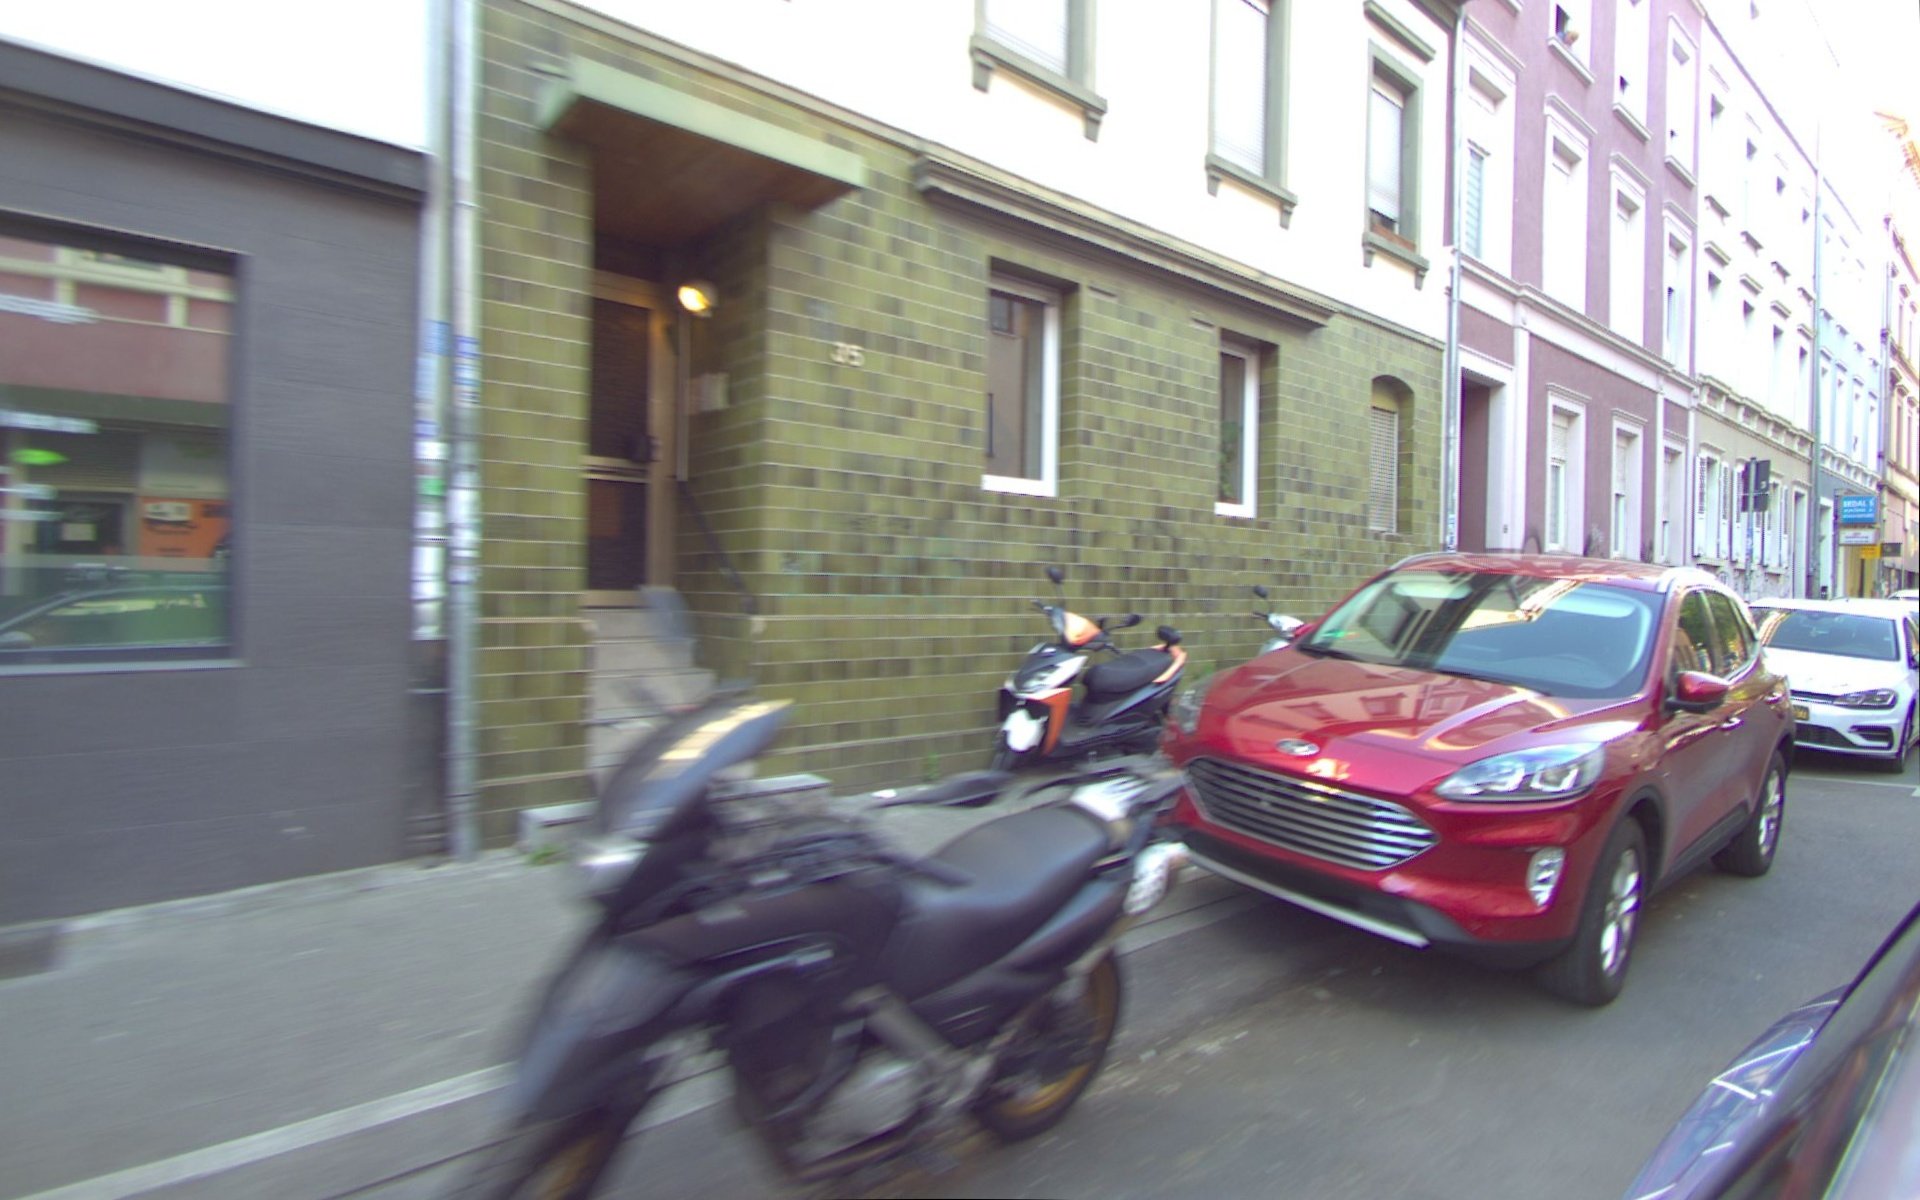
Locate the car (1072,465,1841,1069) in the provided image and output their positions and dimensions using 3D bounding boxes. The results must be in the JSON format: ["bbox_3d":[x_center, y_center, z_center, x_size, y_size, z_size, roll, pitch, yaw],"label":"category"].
[{"bbox_3d":[2.729,0.454,5.040,4.290,1.727,1.921,0,1,-41],"label":"car"}]

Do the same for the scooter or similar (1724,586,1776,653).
[{"bbox_3d":[14.843,0.349,19.005,1.345,1.197,0.451,-1,5,-41],"label":"scooter or similar"}]

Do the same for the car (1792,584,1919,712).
[{"bbox_3d":[13.499,0.585,14.481,4.548,1.562,1.700,-1,3,-41],"label":"car"}]

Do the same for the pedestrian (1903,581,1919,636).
[{"bbox_3d":[30.663,0.272,32.379,0.627,1.762,0.650,0,0,37],"label":"pedestrian"}]

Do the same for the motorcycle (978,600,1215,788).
[{"bbox_3d":[0.990,0.579,6.997,1.845,1.108,0.502,-1,4,-41],"label":"motorcycle"}]

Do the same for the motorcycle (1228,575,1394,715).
[{"bbox_3d":[3.150,0.353,9.001,1.745,1.108,0.559,-1,4,-41],"label":"motorcycle"}]

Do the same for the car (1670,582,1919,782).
[{"bbox_3d":[8.770,0.640,10.209,3.976,1.562,1.690,-1,3,-41],"label":"car"}]

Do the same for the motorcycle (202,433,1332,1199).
[{"bbox_3d":[-0.154,0.550,2.220,2.379,1.509,0.748,-1,0,-41],"label":"motorcycle"}]

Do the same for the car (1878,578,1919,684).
[{"bbox_3d":[17.136,0.490,17.433,3.497,1.733,1.559,-1,0,-41],"label":"car"}]
